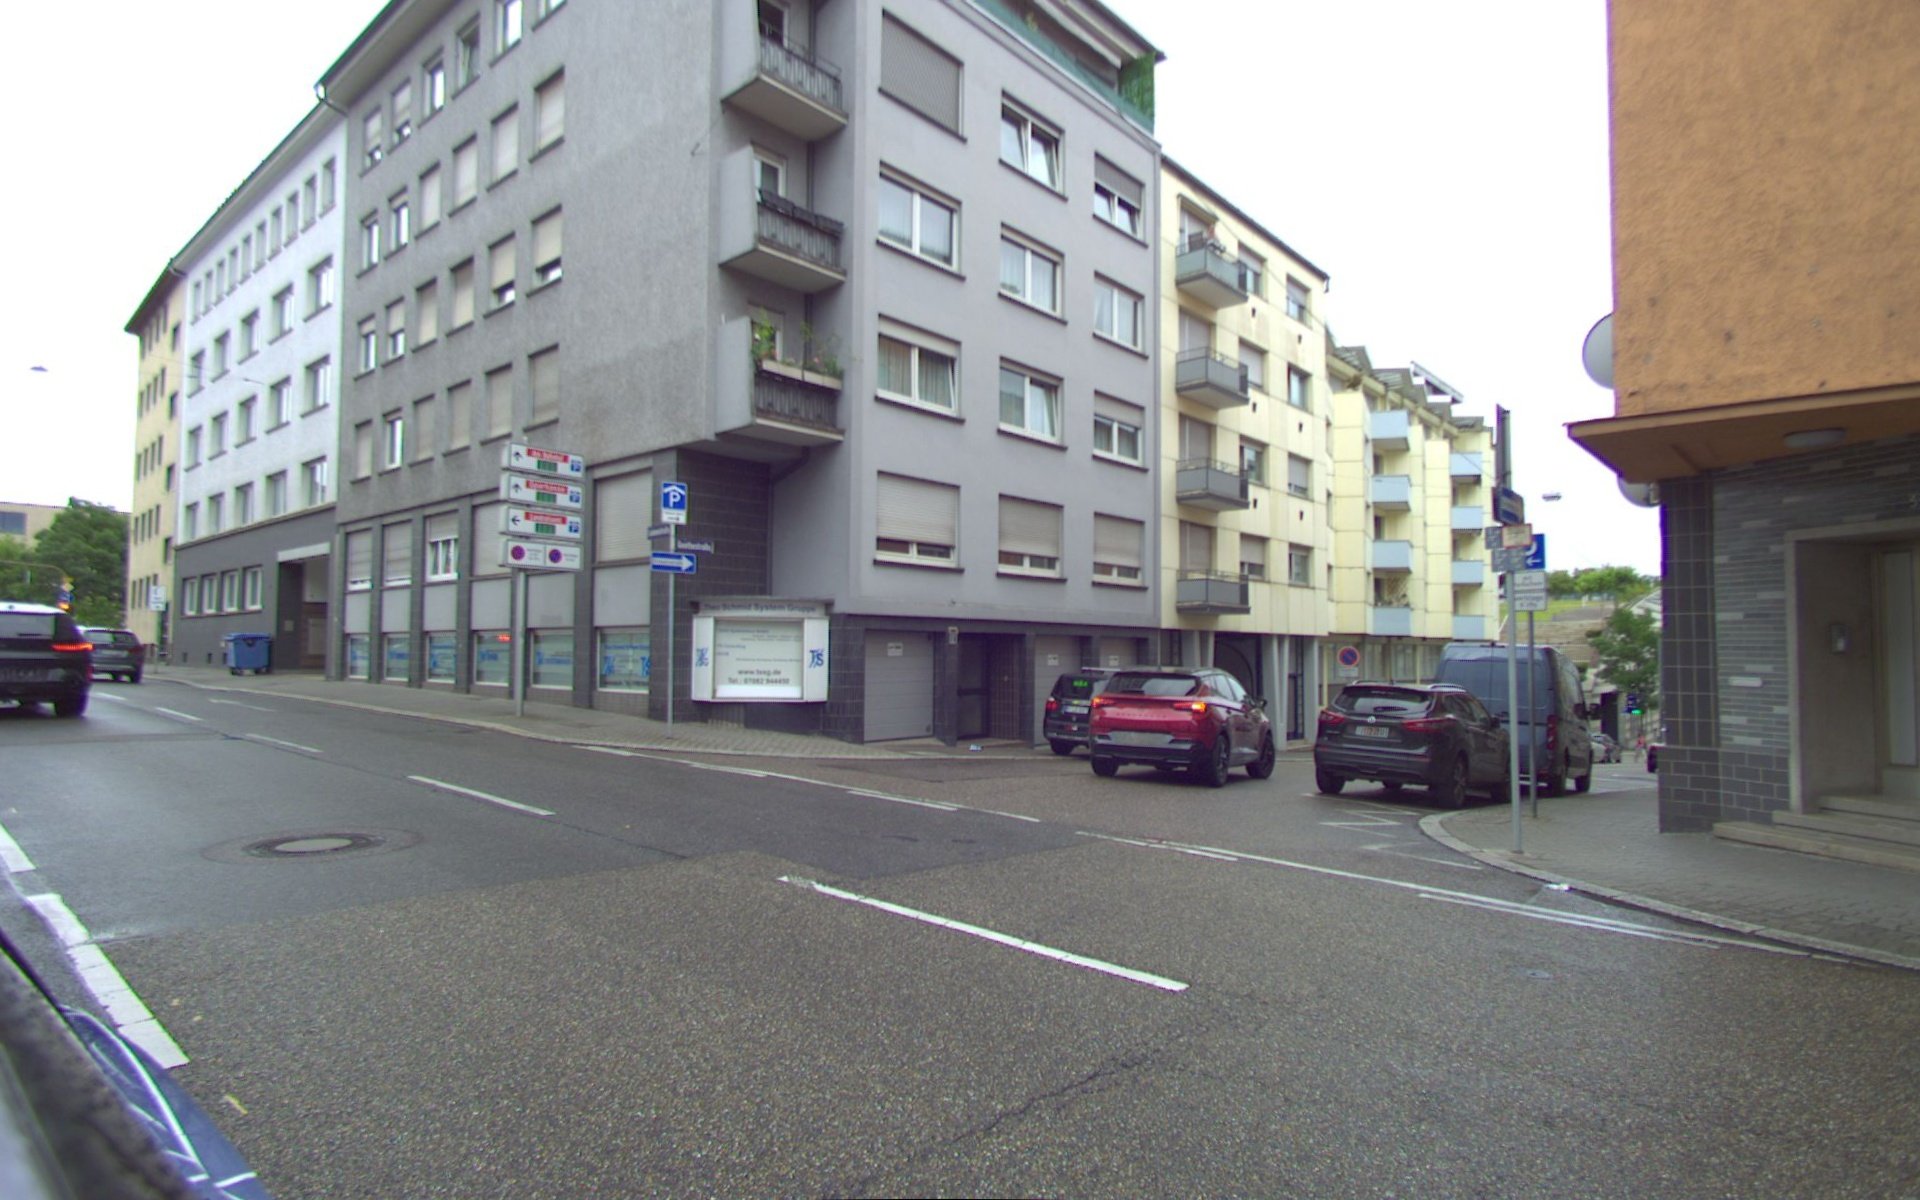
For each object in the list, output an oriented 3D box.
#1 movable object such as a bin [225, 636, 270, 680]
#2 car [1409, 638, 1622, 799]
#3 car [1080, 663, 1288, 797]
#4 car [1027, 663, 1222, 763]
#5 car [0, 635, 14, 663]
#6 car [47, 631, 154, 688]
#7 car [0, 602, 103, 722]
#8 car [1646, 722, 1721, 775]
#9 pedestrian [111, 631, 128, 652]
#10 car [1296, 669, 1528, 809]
[{"bbox_3d":[-22.831,1.835,32.412,1.096,1.343,0.933,-1,0,41],"label":"movable object such as a bin"},{"bbox_3d":[10.500,2.207,18.820,2.249,2.480,5.975,-1,-7,41],"label":"car"},{"bbox_3d":[3.434,1.782,14.854,1.796,1.596,4.272,0,-4,30],"label":"car"},{"bbox_3d":[3.340,2.268,19.913,1.794,1.700,4.186,-1,-8,41],"label":"car"},{"bbox_3d":[-52.478,2.557,53.153,1.738,1.519,3.944,-1,-3,42],"label":"car"},{"bbox_3d":[-25.285,1.726,29.737,4.157,1.519,1.685,-1,-5,41],"label":"car"},{"bbox_3d":[-15.699,0.939,16.270,4.815,1.734,2.104,-1,-5,41],"label":"car"},{"bbox_3d":[25.992,5.337,36.298,1.817,1.688,3.998,-1,-8,41],"label":"car"},{"bbox_3d":[-46.422,2.291,55.900,0.407,1.158,0.575,-2,-6,42],"label":"pedestrian"},{"bbox_3d":[6.432,1.942,14.142,1.842,1.589,4.098,-1,-8,41],"label":"car"}]
